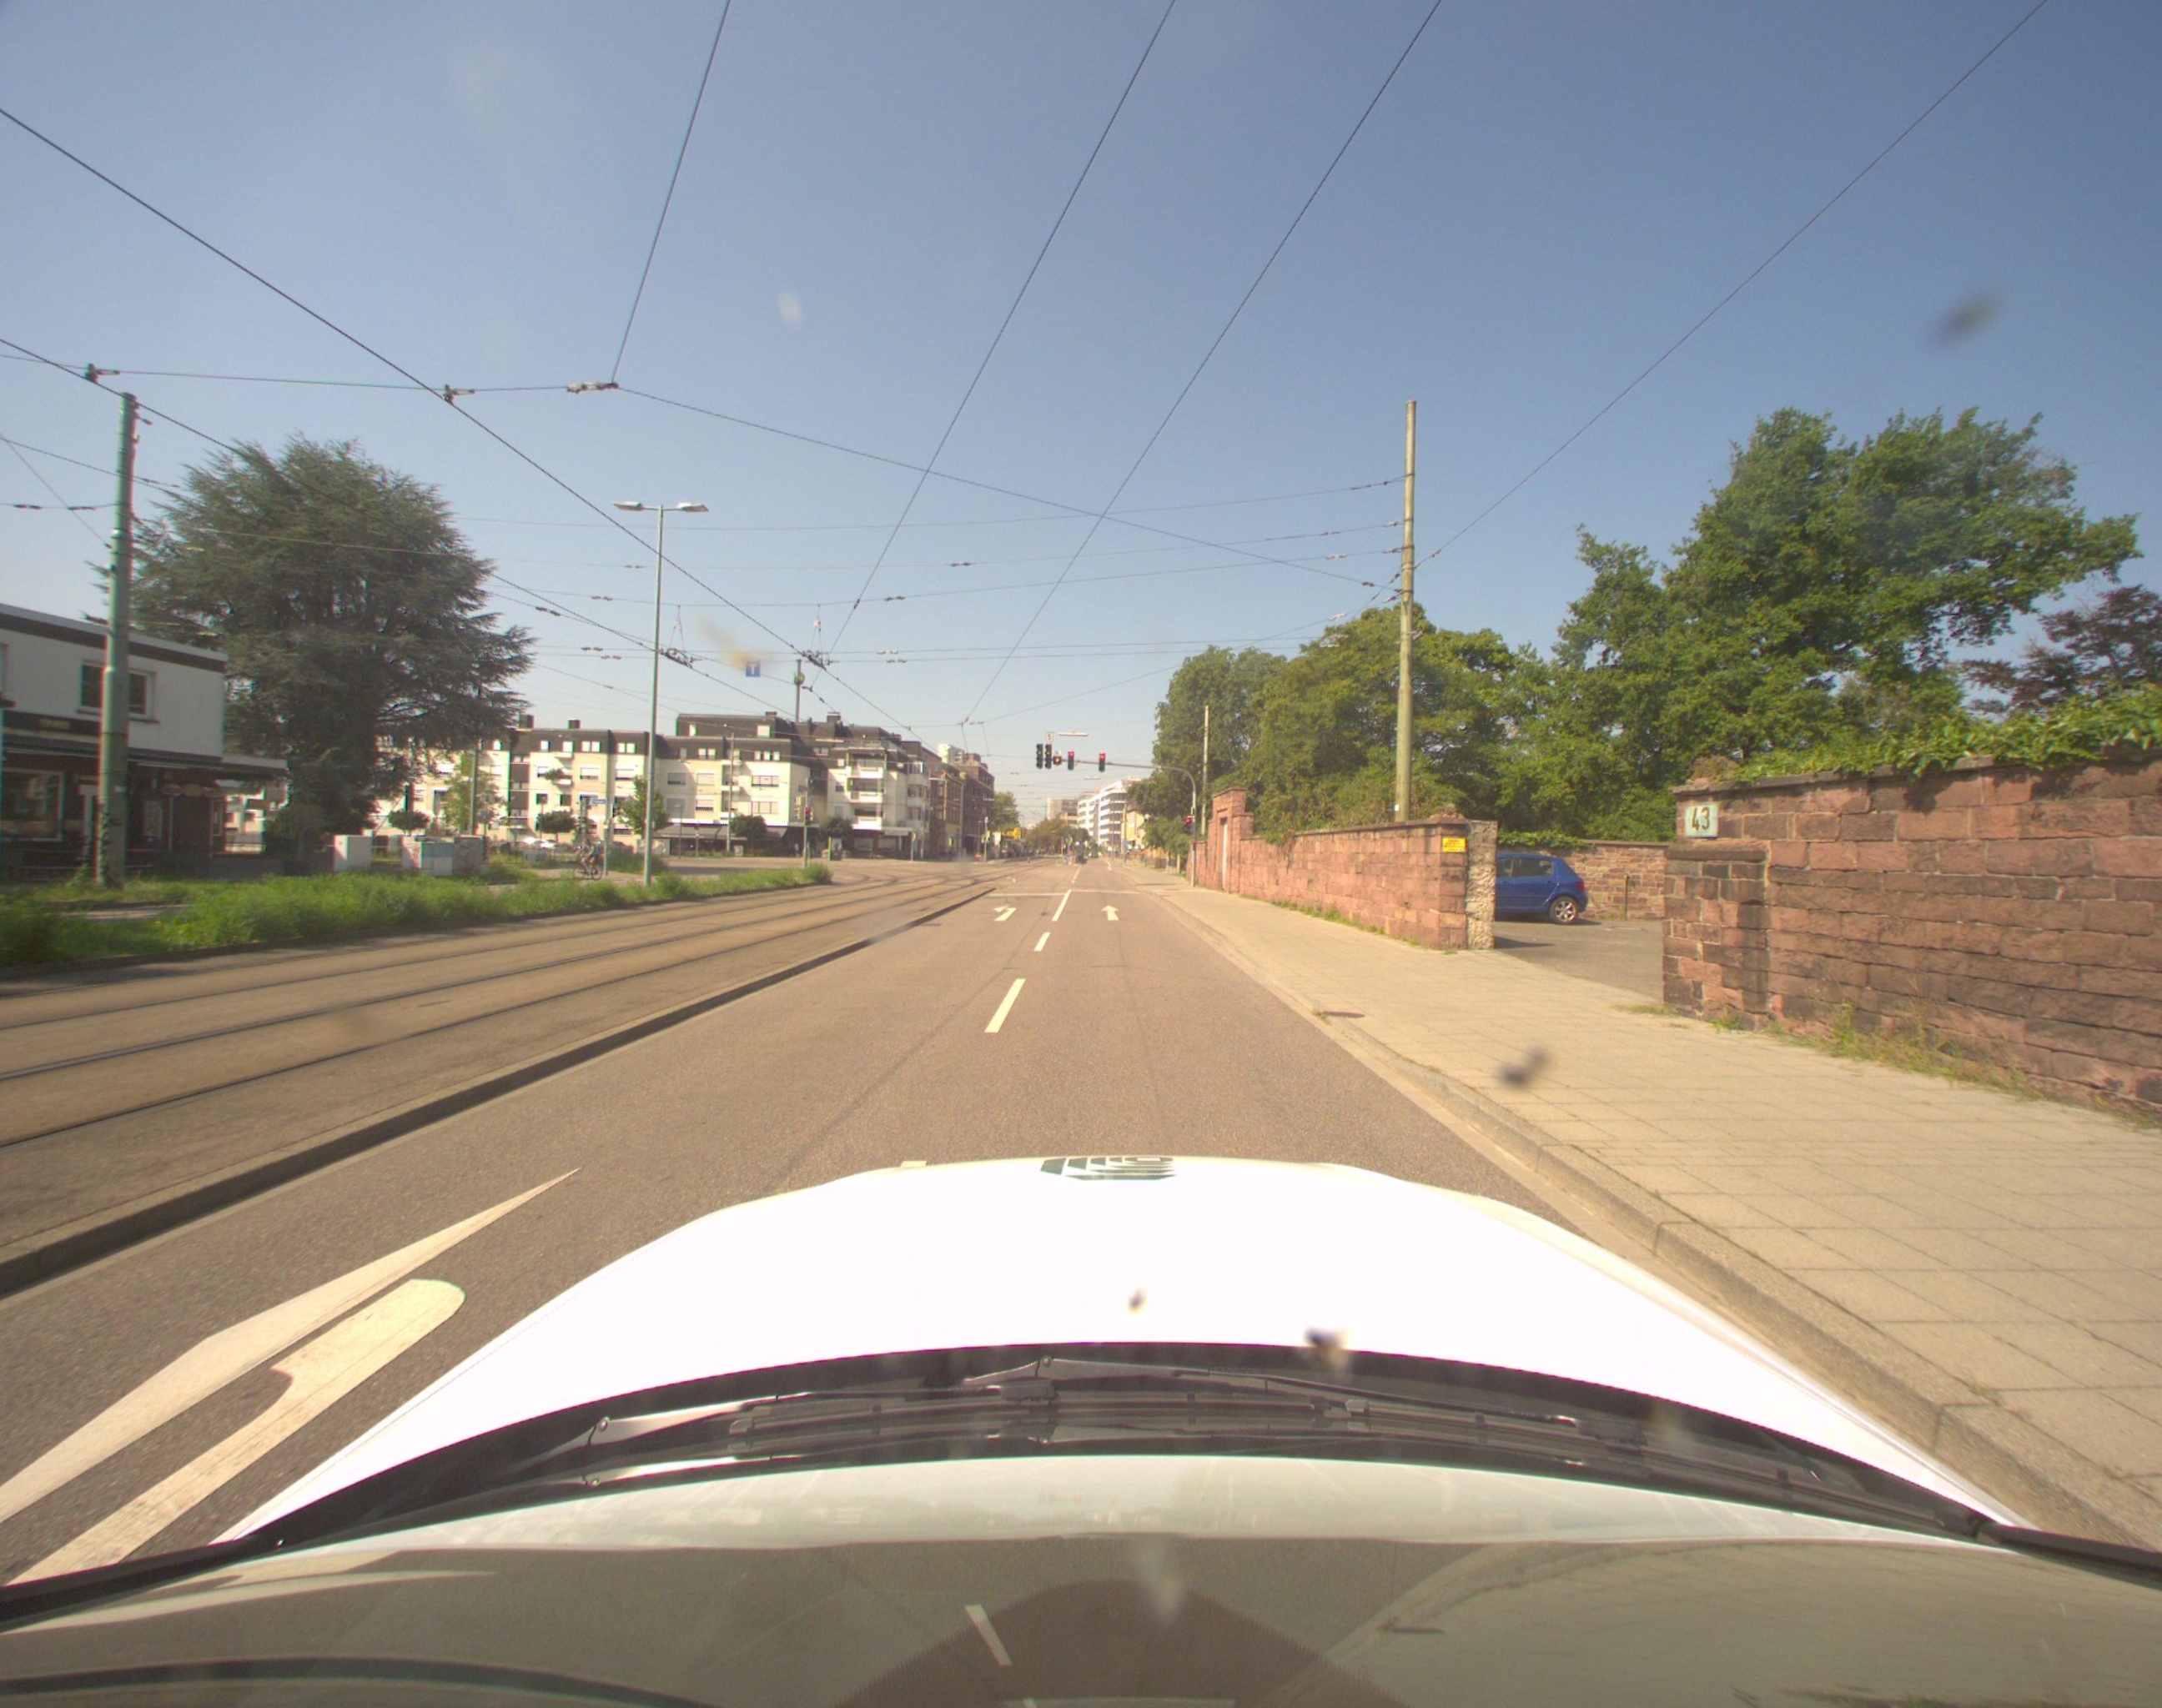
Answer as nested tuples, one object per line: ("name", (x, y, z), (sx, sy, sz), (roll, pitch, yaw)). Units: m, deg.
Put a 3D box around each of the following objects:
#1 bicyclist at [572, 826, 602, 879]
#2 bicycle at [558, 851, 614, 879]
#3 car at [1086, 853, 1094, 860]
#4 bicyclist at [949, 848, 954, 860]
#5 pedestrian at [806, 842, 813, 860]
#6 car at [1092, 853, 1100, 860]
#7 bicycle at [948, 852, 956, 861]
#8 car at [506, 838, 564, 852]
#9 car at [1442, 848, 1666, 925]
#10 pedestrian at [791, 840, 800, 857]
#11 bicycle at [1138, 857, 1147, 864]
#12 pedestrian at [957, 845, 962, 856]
("bicyclist", (-19.587, -0.051, 32.299), (0.634, 2.064, 0.775), (0, 0, 5))
("bicycle", (-19.581, 0.432, 32.297), (0.712, 1.091, 2.267), (0, 0, 3))
("car", (2.394, 0.634, 219.906), (2.003, 1.859, 4.002), (0, 0, 2))
("bicyclist", (-16.058, -0.015, 101.184), (0.566, 1.523, 0.490), (0, 0, 2))
("pedestrian", (-27.622, -0.302, 82.858), (0.602, 1.745, 0.560), (0, -1, -33))
("car", (3.957, 0.592, 213.538), (2.003, 1.859, 4.002), (0, 0, 2))
("bicycle", (-16.044, 0.320, 101.399), (0.572, 1.179, 2.209), (0, 0, 3))
("car", (-50.121, -0.804, 74.803), (4.096, 1.299, 1.673), (0, 0, 0))
("car", (10.457, 0.685, 18.219), (3.955, 1.464, 1.777), (2, 1, -1))
("pedestrian", (-30.204, -0.589, 86.111), (0.677, 1.741, 0.698), (0, 0, 2))
("bicycle", (9.379, 0.976, 124.182), (0.730, 1.132, 2.833), (-2, 0, -6))
("pedestrian", (-18.996, -0.522, 127.113), (0.480, 1.560, 0.890), (3, -1, 12))
